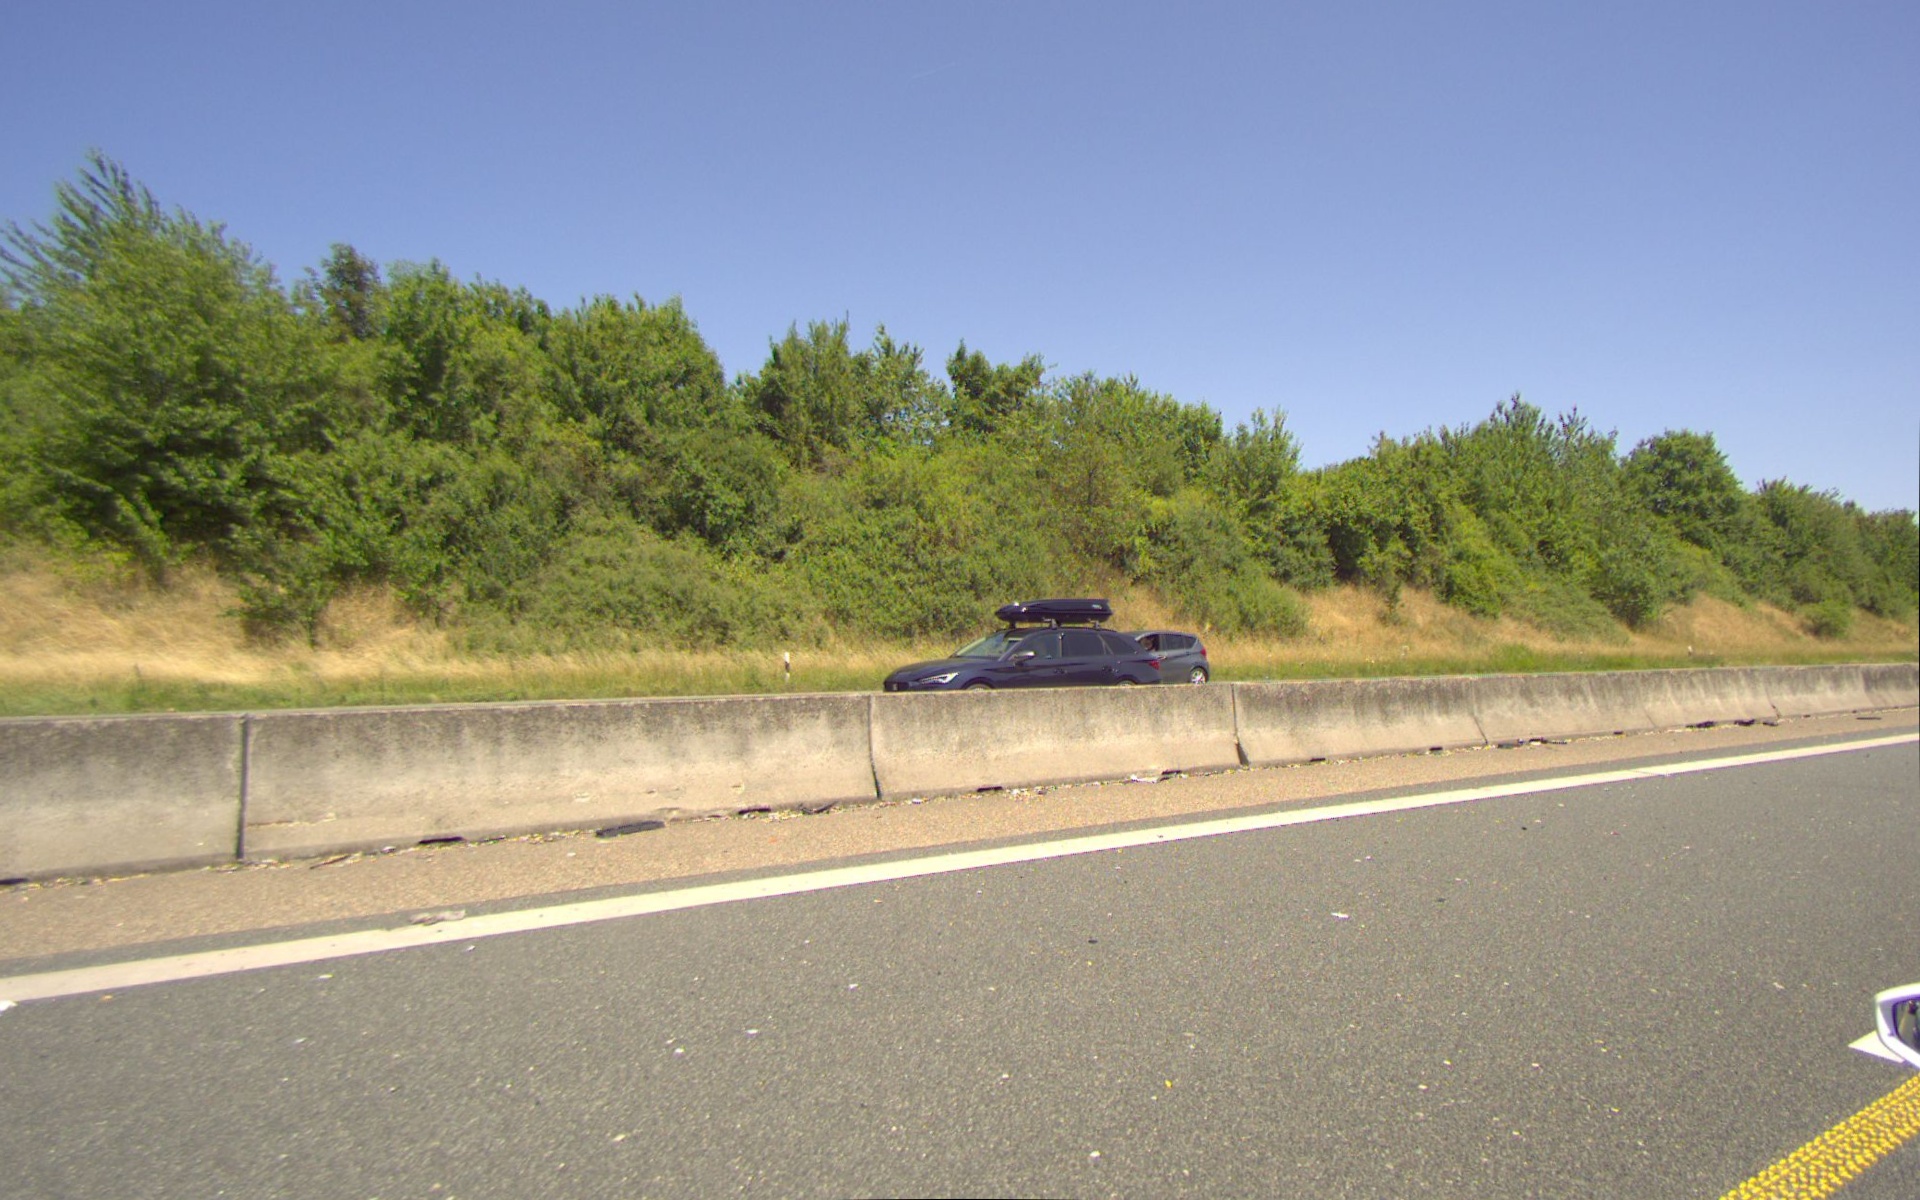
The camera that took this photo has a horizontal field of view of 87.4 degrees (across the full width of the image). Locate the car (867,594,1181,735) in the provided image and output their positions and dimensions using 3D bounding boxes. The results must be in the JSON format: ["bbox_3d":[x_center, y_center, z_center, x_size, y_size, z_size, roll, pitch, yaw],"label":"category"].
[{"bbox_3d":[1.041,0.906,15.066,4.572,1.842,1.732,1,-2,-33],"label":"car"}]

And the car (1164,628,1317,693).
[{"bbox_3d":[7.264,1.517,25.894,3.953,1.568,1.492,1,-2,-31],"label":"car"}]
